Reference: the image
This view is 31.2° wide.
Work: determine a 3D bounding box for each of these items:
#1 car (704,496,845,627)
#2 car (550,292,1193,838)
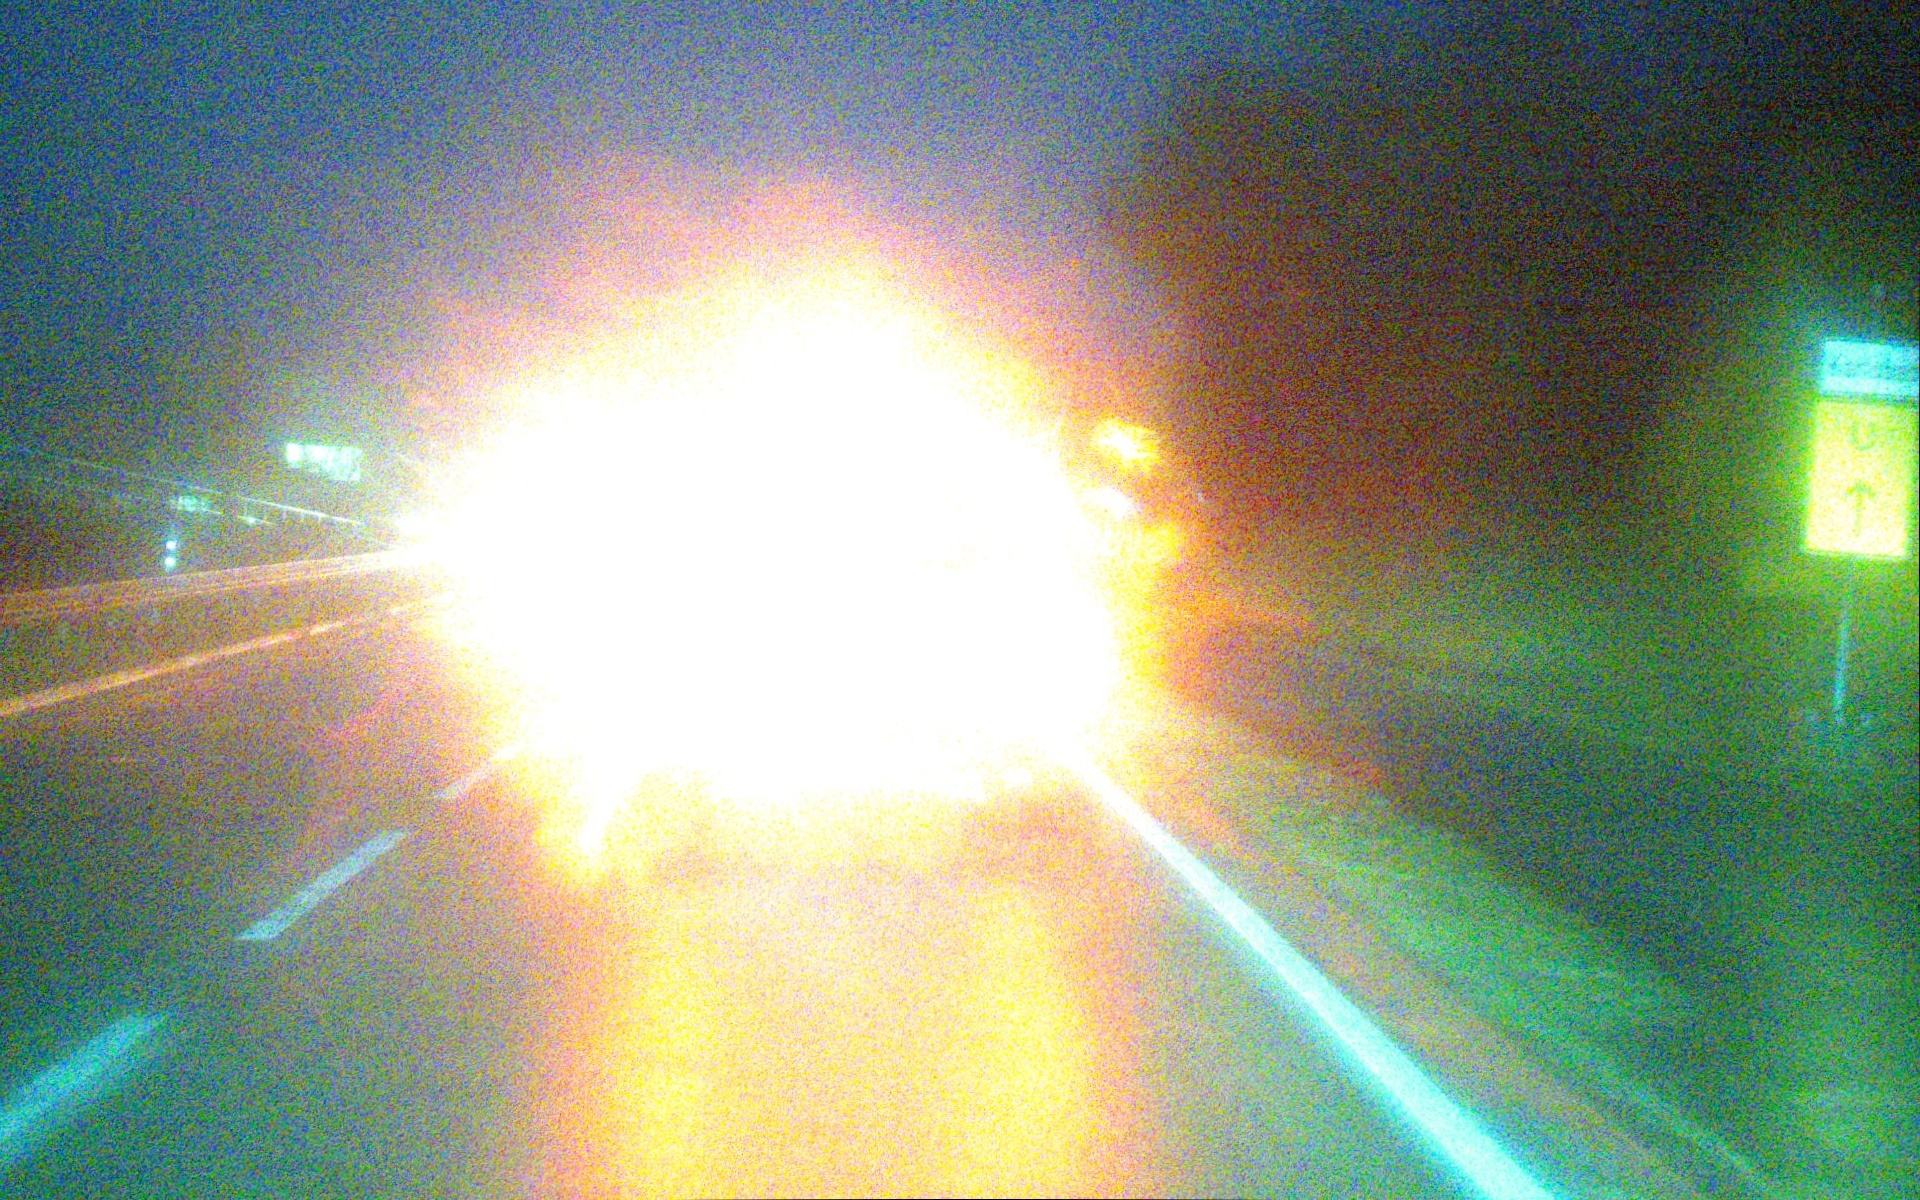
[{"bbox_3d":[-2.809,-0.616,52.751,1.993,1.908,4.000,-1,1,-1],"label":"car"},{"bbox_3d":[-0.505,-0.232,17.643,2.715,2.299,6.101,0,2,-2],"label":"car"}]
